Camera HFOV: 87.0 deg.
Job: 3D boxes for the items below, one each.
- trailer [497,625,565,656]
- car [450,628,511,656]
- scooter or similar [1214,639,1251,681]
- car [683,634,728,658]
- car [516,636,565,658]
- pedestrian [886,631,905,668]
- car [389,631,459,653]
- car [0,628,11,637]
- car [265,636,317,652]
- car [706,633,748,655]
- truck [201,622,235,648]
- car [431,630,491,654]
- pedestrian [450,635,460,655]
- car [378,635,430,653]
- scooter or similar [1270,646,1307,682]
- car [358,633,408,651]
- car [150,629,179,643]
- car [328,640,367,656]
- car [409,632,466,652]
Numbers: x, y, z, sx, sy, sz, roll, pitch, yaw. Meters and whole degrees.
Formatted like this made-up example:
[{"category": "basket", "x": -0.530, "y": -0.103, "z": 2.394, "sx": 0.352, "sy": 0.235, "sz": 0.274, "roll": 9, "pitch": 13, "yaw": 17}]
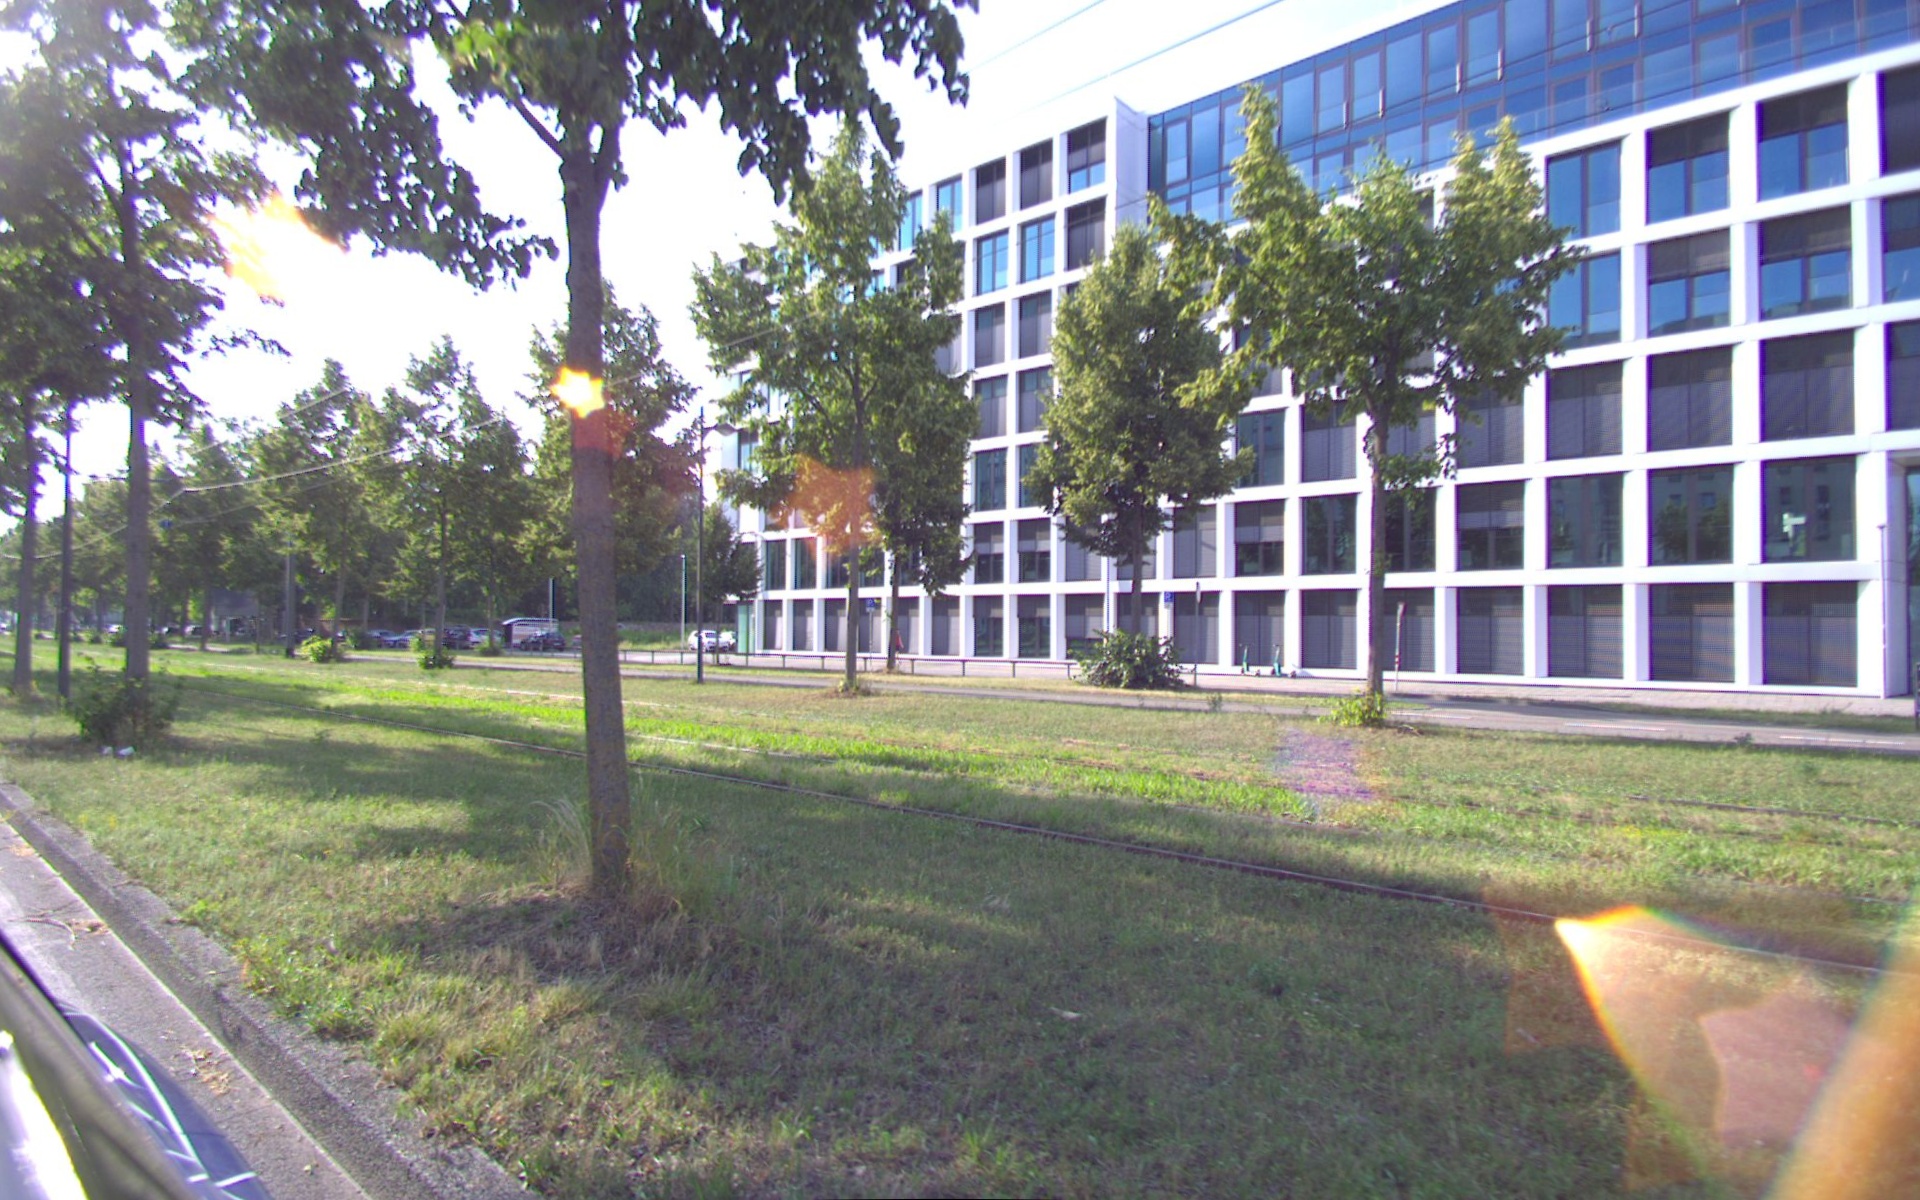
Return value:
[{"category": "trailer", "x": -32.113, "y": 3.000, "z": 75.855, "sx": 1.758, "sy": 2.069, "sz": 4.315, "roll": -1, "pitch": 0, "yaw": 44}, {"category": "car", "x": -37.256, "y": 3.221, "z": 78.698, "sx": 1.757, "sy": 1.962, "sz": 3.950, "roll": -1, "pitch": 0, "yaw": 41}, {"category": "scooter or similar", "x": 10.200, "y": 2.221, "z": 37.825, "sx": 0.415, "sy": 1.488, "sz": 1.907, "roll": -1, "pitch": 0, "yaw": 45}, {"category": "car", "x": -19.420, "y": 3.466, "z": 77.051, "sx": 1.824, "sy": 1.608, "sz": 4.008, "roll": -1, "pitch": 0, "yaw": -38}, {"category": "car", "x": -30.013, "y": 3.361, "z": 72.399, "sx": 3.756, "sy": 1.404, "sz": 1.663, "roll": -1, "pitch": 0, "yaw": 38}, {"category": "pedestrian", "x": -3.164, "y": 2.421, "z": 49.652, "sx": 0.691, "sy": 1.741, "sz": 0.561, "roll": -1, "pitch": 0, "yaw": 41}, {"category": "car", "x": -46.469, "y": 3.623, "z": 87.843, "sx": 1.886, "sy": 1.748, "sz": 5.004, "roll": -1, "pitch": 0, "yaw": 43}, {"category": "car", "x": -164.097, "y": 5.587, "z": 173.342, "sx": 4.811, "sy": 1.487, "sz": 1.664, "roll": -1, "pitch": -4, "yaw": 42}, {"category": "car", "x": -61.308, "y": 4.044, "z": 92.783, "sx": 3.994, "sy": 1.446, "sz": 1.680, "roll": -1, "pitch": 0, "yaw": 13}, {"category": "car", "x": -18.054, "y": 3.362, "z": 78.362, "sx": 1.662, "sy": 1.569, "sz": 4.009, "roll": -1, "pitch": 0, "yaw": -37}, {"category": "truck", "x": -105.349, "y": 4.938, "z": 143.713, "sx": 2.855, "sy": 3.542, "sz": 7.950, "roll": 0, "pitch": 0, "yaw": -44}, {"category": "car", "x": -39.738, "y": 3.326, "z": 80.695, "sx": 1.757, "sy": 1.655, "sz": 3.950, "roll": -1, "pitch": 0, "yaw": 41}, {"category": "pedestrian", "x": -38.739, "y": 3.431, "z": 77.623, "sx": 0.568, "sy": 1.491, "sz": 0.516, "roll": -1, "pitch": 0, "yaw": 40}, {"category": "car", "x": -48.882, "y": 3.851, "z": 89.017, "sx": 1.810, "sy": 1.439, "sz": 3.607, "roll": -1, "pitch": 0, "yaw": 43}, {"category": "scooter or similar", "x": 11.906, "y": 2.308, "z": 36.718, "sx": 0.331, "sy": 1.235, "sz": 1.302, "roll": 0, "pitch": 0, "yaw": -35}, {"category": "car", "x": -53.716, "y": 3.866, "z": 94.229, "sx": 3.810, "sy": 1.497, "sz": 1.746, "roll": -1, "pitch": 0, "yaw": -41}, {"category": "car", "x": -89.166, "y": 3.980, "z": 113.414, "sx": 4.474, "sy": 1.442, "sz": 1.811, "roll": -1, "pitch": 0, "yaw": 42}, {"category": "car", "x": -60.957, "y": 4.775, "z": 100.656, "sx": 4.352, "sy": 1.453, "sz": 1.770, "roll": -1, "pitch": 0, "yaw": 36}, {"category": "car", "x": -44.522, "y": 3.561, "z": 86.318, "sx": 1.856, "sy": 1.572, "sz": 3.943, "roll": -1, "pitch": 0, "yaw": 43}]
